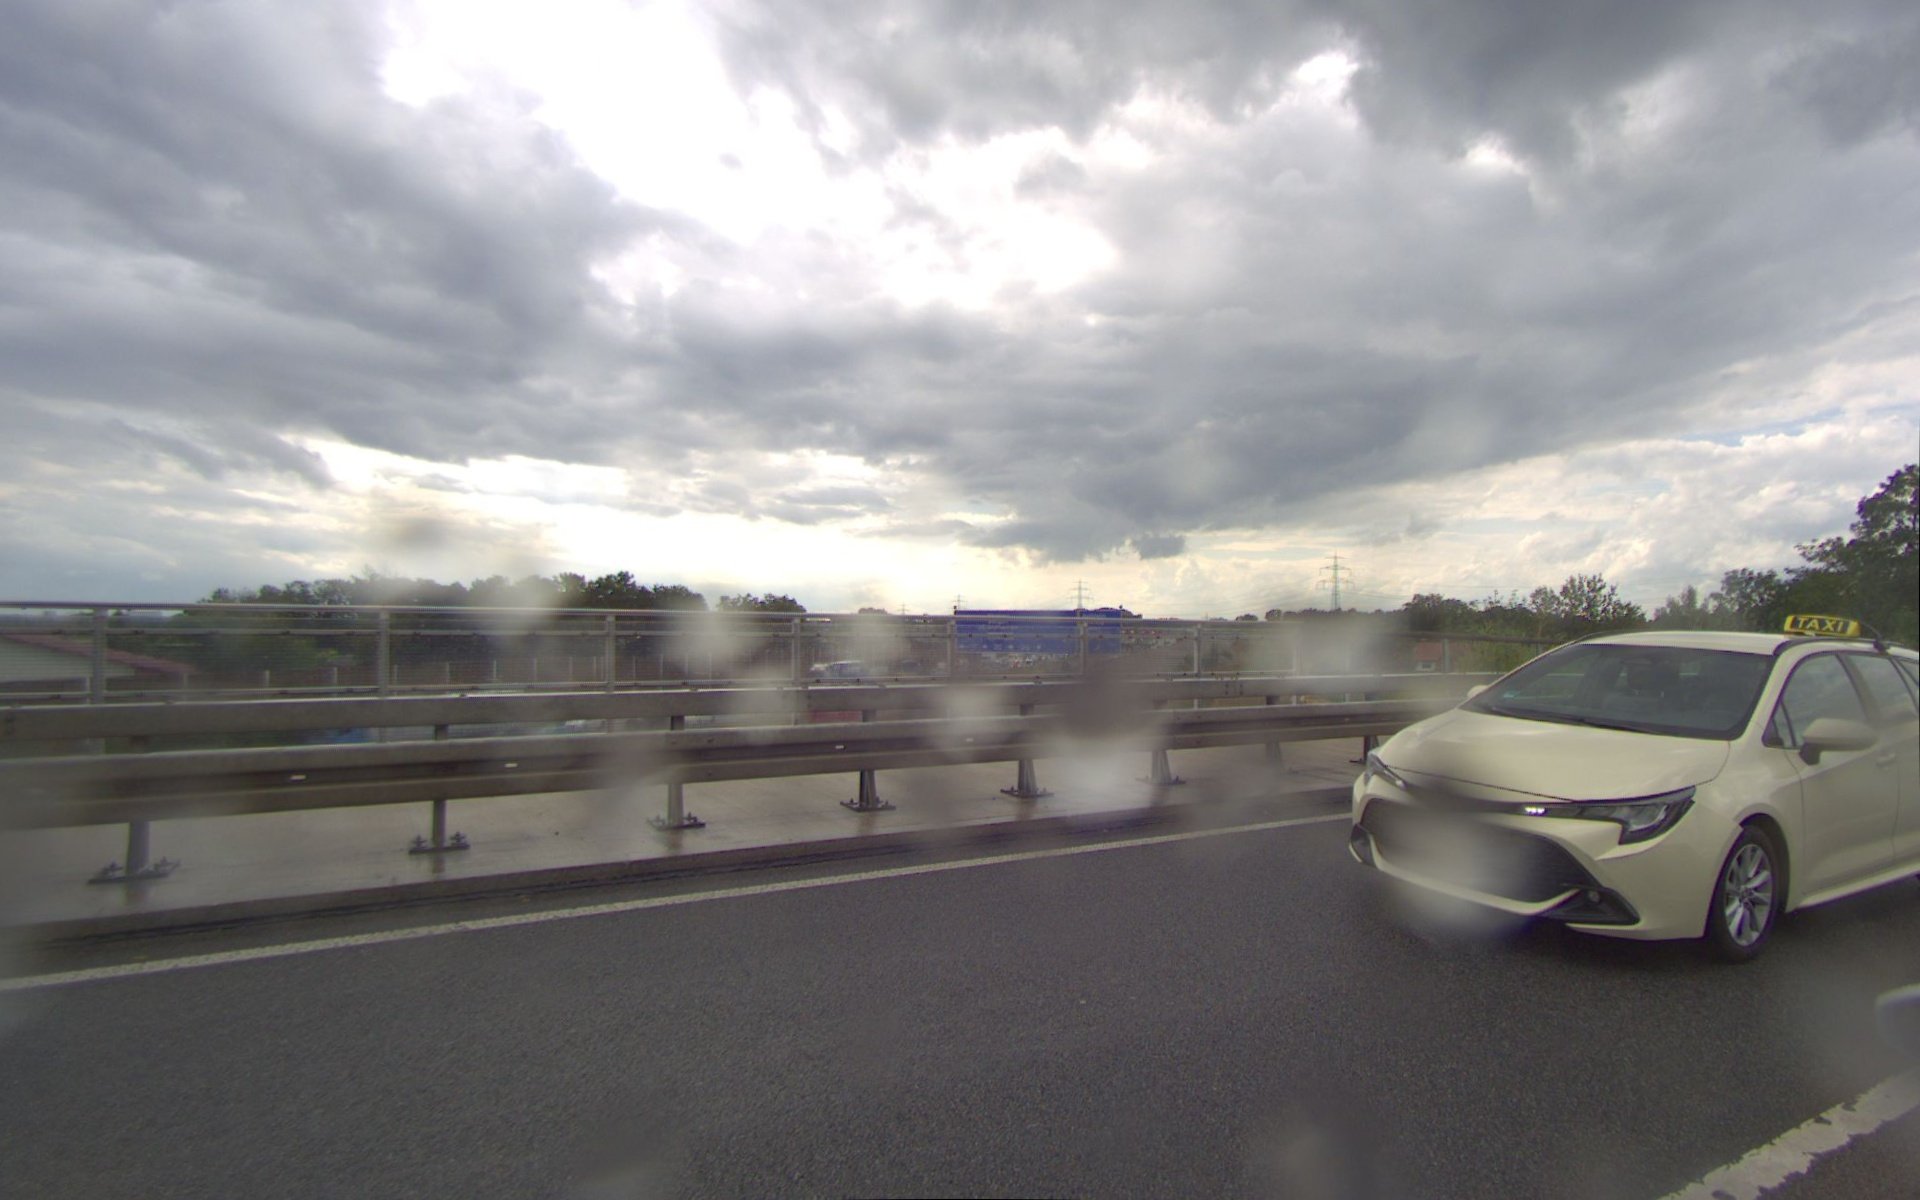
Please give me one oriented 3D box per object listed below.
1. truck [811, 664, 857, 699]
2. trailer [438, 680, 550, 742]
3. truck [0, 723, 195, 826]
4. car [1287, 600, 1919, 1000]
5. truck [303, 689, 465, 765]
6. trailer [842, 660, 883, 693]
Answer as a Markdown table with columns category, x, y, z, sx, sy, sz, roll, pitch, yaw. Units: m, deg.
| category | x | y | z | sx | sy | sz | roll | pitch | yaw |
| --- | --- | --- | --- | --- | --- | --- | --- | --- | --- |
| truck | -18.328 | 11.831 | 146.920 | 2.388 | 4.250 | 11.173 | 1 | 0 | 16 |
| trailer | -36.759 | 8.670 | 79.760 | 2.388 | 3.812 | 9.461 | 1 | 0 | 16 |
| truck | -46.338 | 9.000 | 52.258 | 2.388 | 3.812 | 11.173 | 1 | 0 | 16 |
| car | 4.206 | 0.817 | 5.812 | 4.556 | 1.530 | 1.802 | 1 | 0 | -30 |
| truck | -39.655 | 8.624 | 69.868 | 2.388 | 3.812 | 11.173 | 1 | 0 | 16 |
| trailer | -15.194 | 11.881 | 157.634 | 2.388 | 4.250 | 11.173 | 1 | 0 | 16 |
